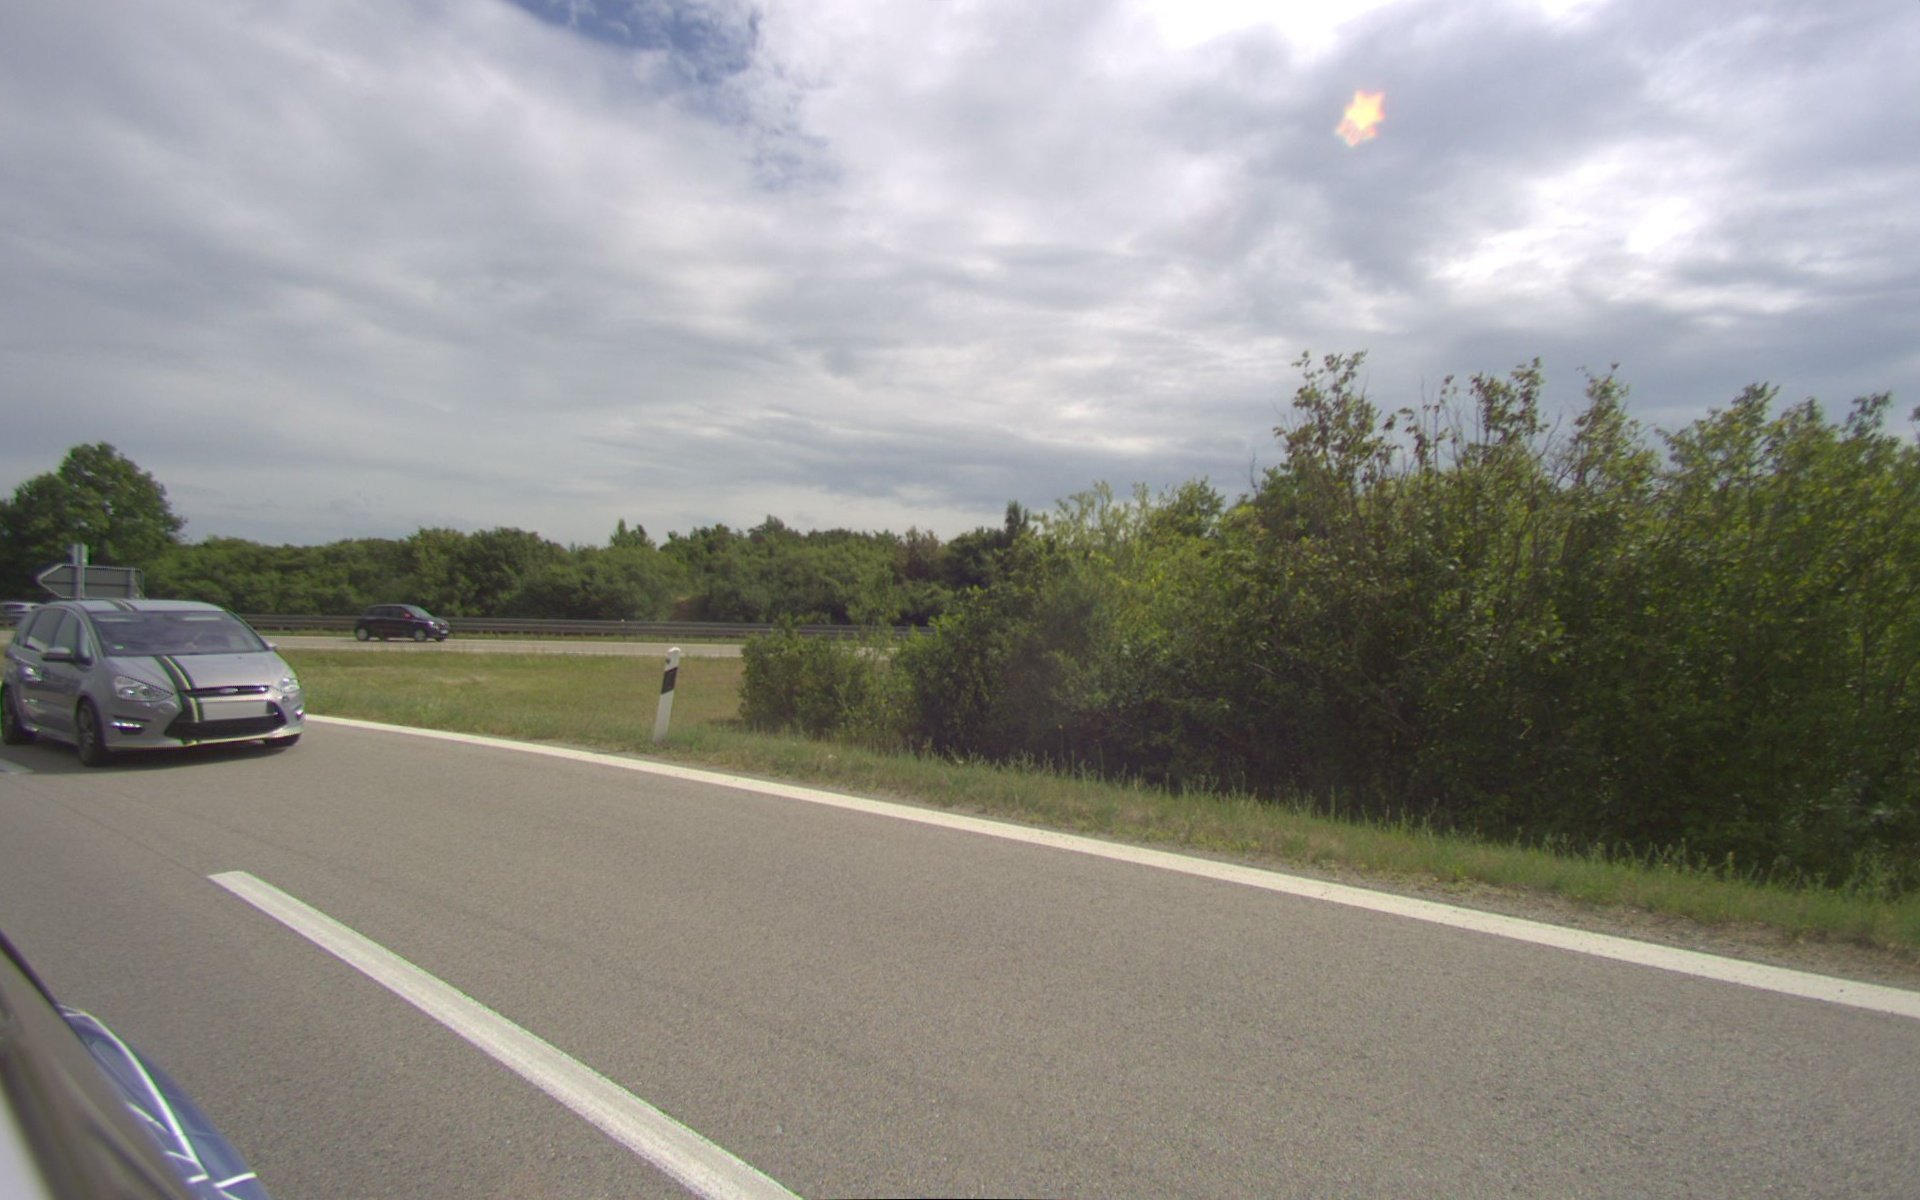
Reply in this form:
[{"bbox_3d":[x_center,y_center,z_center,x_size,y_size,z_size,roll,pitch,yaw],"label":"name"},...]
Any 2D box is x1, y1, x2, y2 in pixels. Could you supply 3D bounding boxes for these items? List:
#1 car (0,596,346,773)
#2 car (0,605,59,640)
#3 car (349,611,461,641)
[{"bbox_3d":[-8.977,0.781,11.215,4.576,1.589,2.004,0,-2,35],"label":"car"},{"bbox_3d":[-52.641,1.253,55.908,4.150,1.887,1.843,-1,0,3],"label":"car"},{"bbox_3d":[-23.451,1.113,42.852,3.641,1.180,1.998,1,-2,3],"label":"car"}]
